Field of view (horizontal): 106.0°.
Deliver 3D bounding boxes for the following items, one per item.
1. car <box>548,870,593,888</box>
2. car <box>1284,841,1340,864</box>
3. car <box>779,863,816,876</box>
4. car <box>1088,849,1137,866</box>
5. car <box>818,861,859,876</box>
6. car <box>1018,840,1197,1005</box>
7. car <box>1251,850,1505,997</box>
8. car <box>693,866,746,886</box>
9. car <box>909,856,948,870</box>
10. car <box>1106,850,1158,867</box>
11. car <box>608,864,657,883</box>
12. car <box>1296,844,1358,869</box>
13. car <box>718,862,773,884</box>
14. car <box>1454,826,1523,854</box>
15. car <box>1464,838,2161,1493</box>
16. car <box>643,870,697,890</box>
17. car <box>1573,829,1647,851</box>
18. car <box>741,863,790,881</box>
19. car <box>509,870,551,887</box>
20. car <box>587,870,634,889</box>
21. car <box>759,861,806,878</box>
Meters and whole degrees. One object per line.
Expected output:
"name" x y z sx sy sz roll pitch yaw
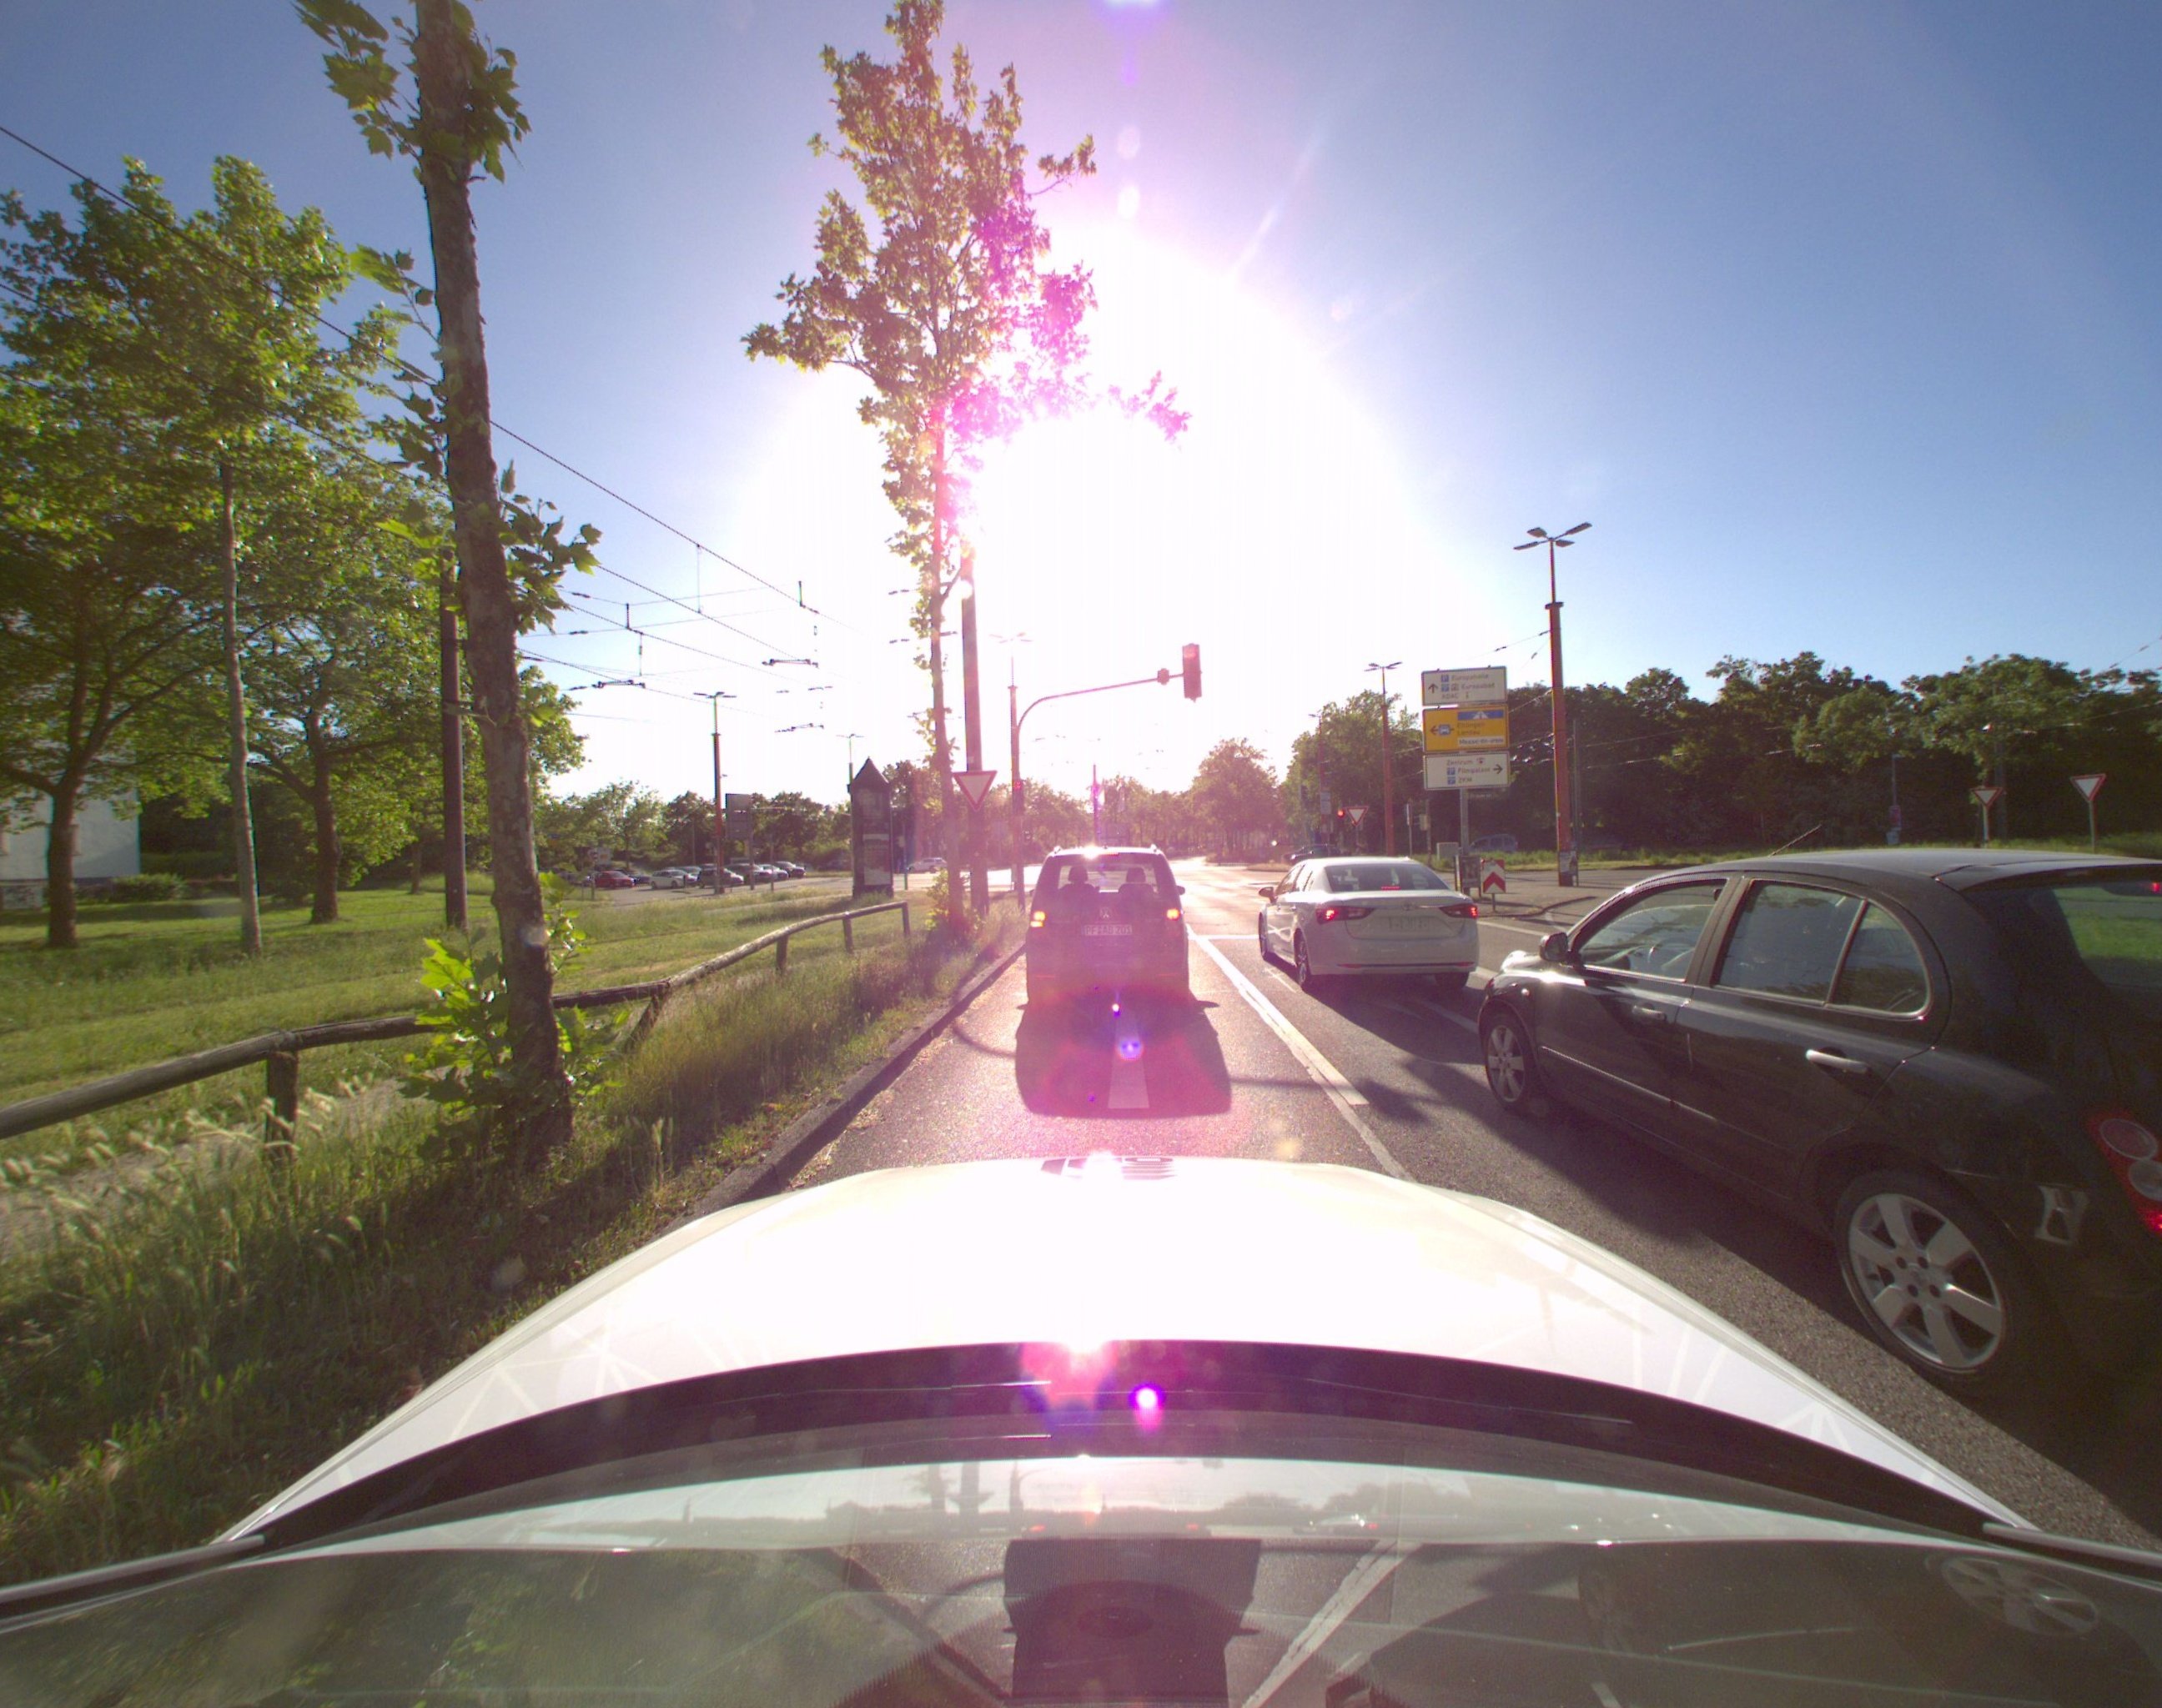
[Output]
"car" -45.075 2.216 71.914 4.145 1.520 1.667 -1 0 32
"car" 18.717 -0.114 65.982 4.080 1.791 1.810 -1 0 28
"car" -32.480 1.768 93.320 3.758 1.403 1.666 -1 0 23
"car" 2.862 0.330 74.296 4.080 1.471 1.667 -1 0 27
"car" -25.432 1.526 85.349 4.081 1.403 1.666 -1 0 25
"car" 0.367 0.686 10.094 1.731 1.602 4.329 0 -1 3
"car" 3.374 0.706 10.198 1.792 1.440 4.329 0 0 3
"car" -27.326 1.691 61.580 3.793 1.441 1.667 -1 0 29
"car" -15.795 0.947 84.366 3.755 1.403 1.667 -1 0 30
"car" 4.316 0.377 69.227 4.079 1.403 1.667 -1 0 29
"car" -40.451 1.722 73.444 4.583 1.647 1.767 -1 0 32
"car" 18.721 0.195 62.026 4.079 1.791 1.810 -1 0 33
"car" -26.922 1.512 65.362 4.583 1.647 1.667 -1 0 32
"car" 28.316 -0.937 56.600 4.079 1.791 1.810 -1 0 31
"car" 3.180 0.692 3.500 1.570 1.440 3.443 0 -1 2
"car" -32.660 2.070 64.745 4.577 1.520 1.667 -1 0 32
"car" 36.434 -0.979 56.224 4.080 1.403 1.666 -1 0 27
"car" -26.829 1.519 69.199 4.102 1.415 1.553 -1 0 28
"car" -51.121 2.255 75.535 4.145 1.520 1.667 -1 0 32
"car" -39.437 2.145 68.263 4.145 1.520 1.667 -1 0 32
"car" -26.725 1.378 72.823 4.102 1.415 1.553 -1 0 28
